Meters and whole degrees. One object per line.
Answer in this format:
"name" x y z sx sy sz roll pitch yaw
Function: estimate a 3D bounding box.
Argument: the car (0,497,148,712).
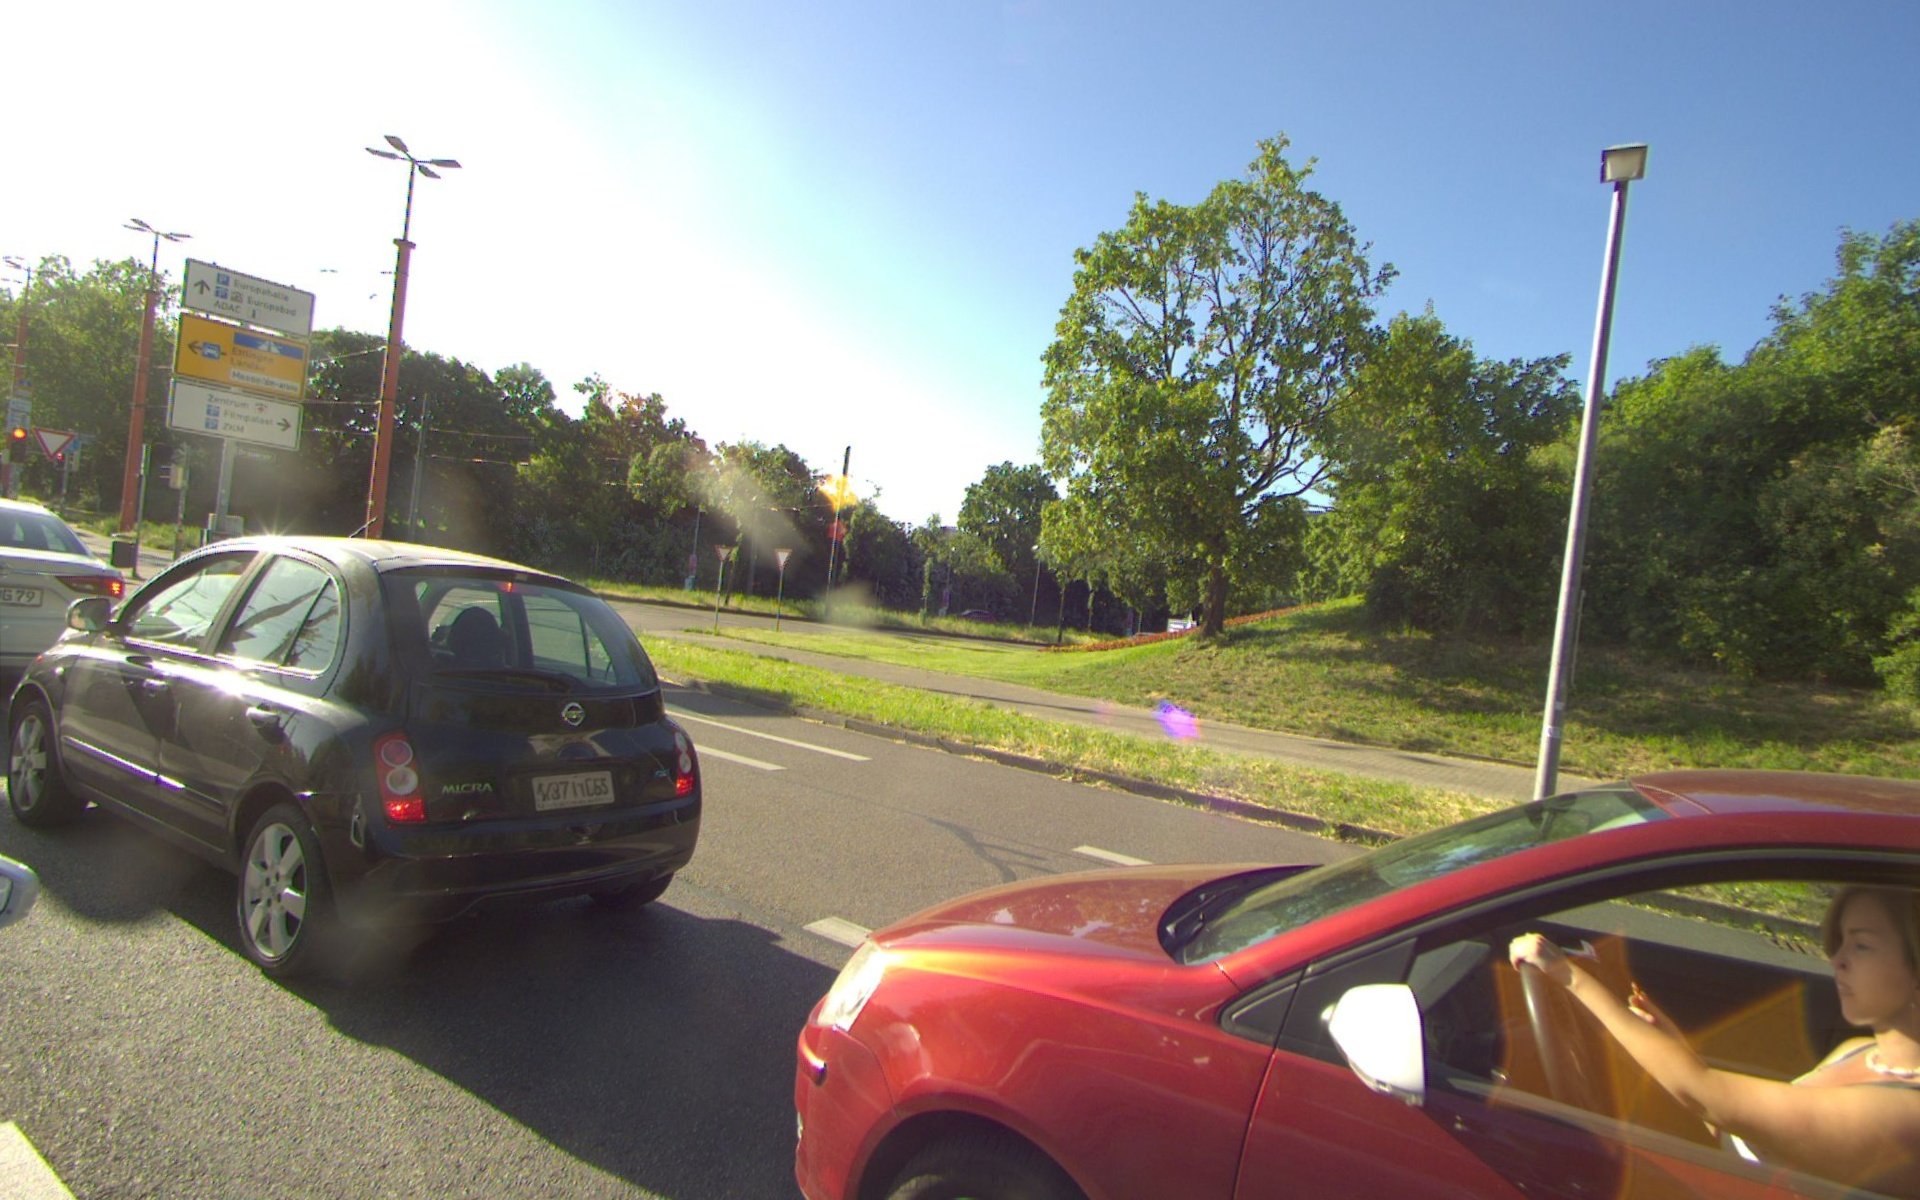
"car" -8.350 -0.164 7.978 4.077 1.472 1.717 7 -1 33

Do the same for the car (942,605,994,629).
"car" 0.597 1.303 77.695 3.577 1.383 1.689 8 -1 -32

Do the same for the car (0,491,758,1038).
"car" -2.824 0.464 4.624 3.457 1.524 1.558 7 0 32

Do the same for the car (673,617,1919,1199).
"car" 1.368 0.990 1.894 3.634 1.434 1.624 7 -1 34

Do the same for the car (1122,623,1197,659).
"car" 11.155 2.292 56.110 3.854 1.486 1.736 8 -1 -33
